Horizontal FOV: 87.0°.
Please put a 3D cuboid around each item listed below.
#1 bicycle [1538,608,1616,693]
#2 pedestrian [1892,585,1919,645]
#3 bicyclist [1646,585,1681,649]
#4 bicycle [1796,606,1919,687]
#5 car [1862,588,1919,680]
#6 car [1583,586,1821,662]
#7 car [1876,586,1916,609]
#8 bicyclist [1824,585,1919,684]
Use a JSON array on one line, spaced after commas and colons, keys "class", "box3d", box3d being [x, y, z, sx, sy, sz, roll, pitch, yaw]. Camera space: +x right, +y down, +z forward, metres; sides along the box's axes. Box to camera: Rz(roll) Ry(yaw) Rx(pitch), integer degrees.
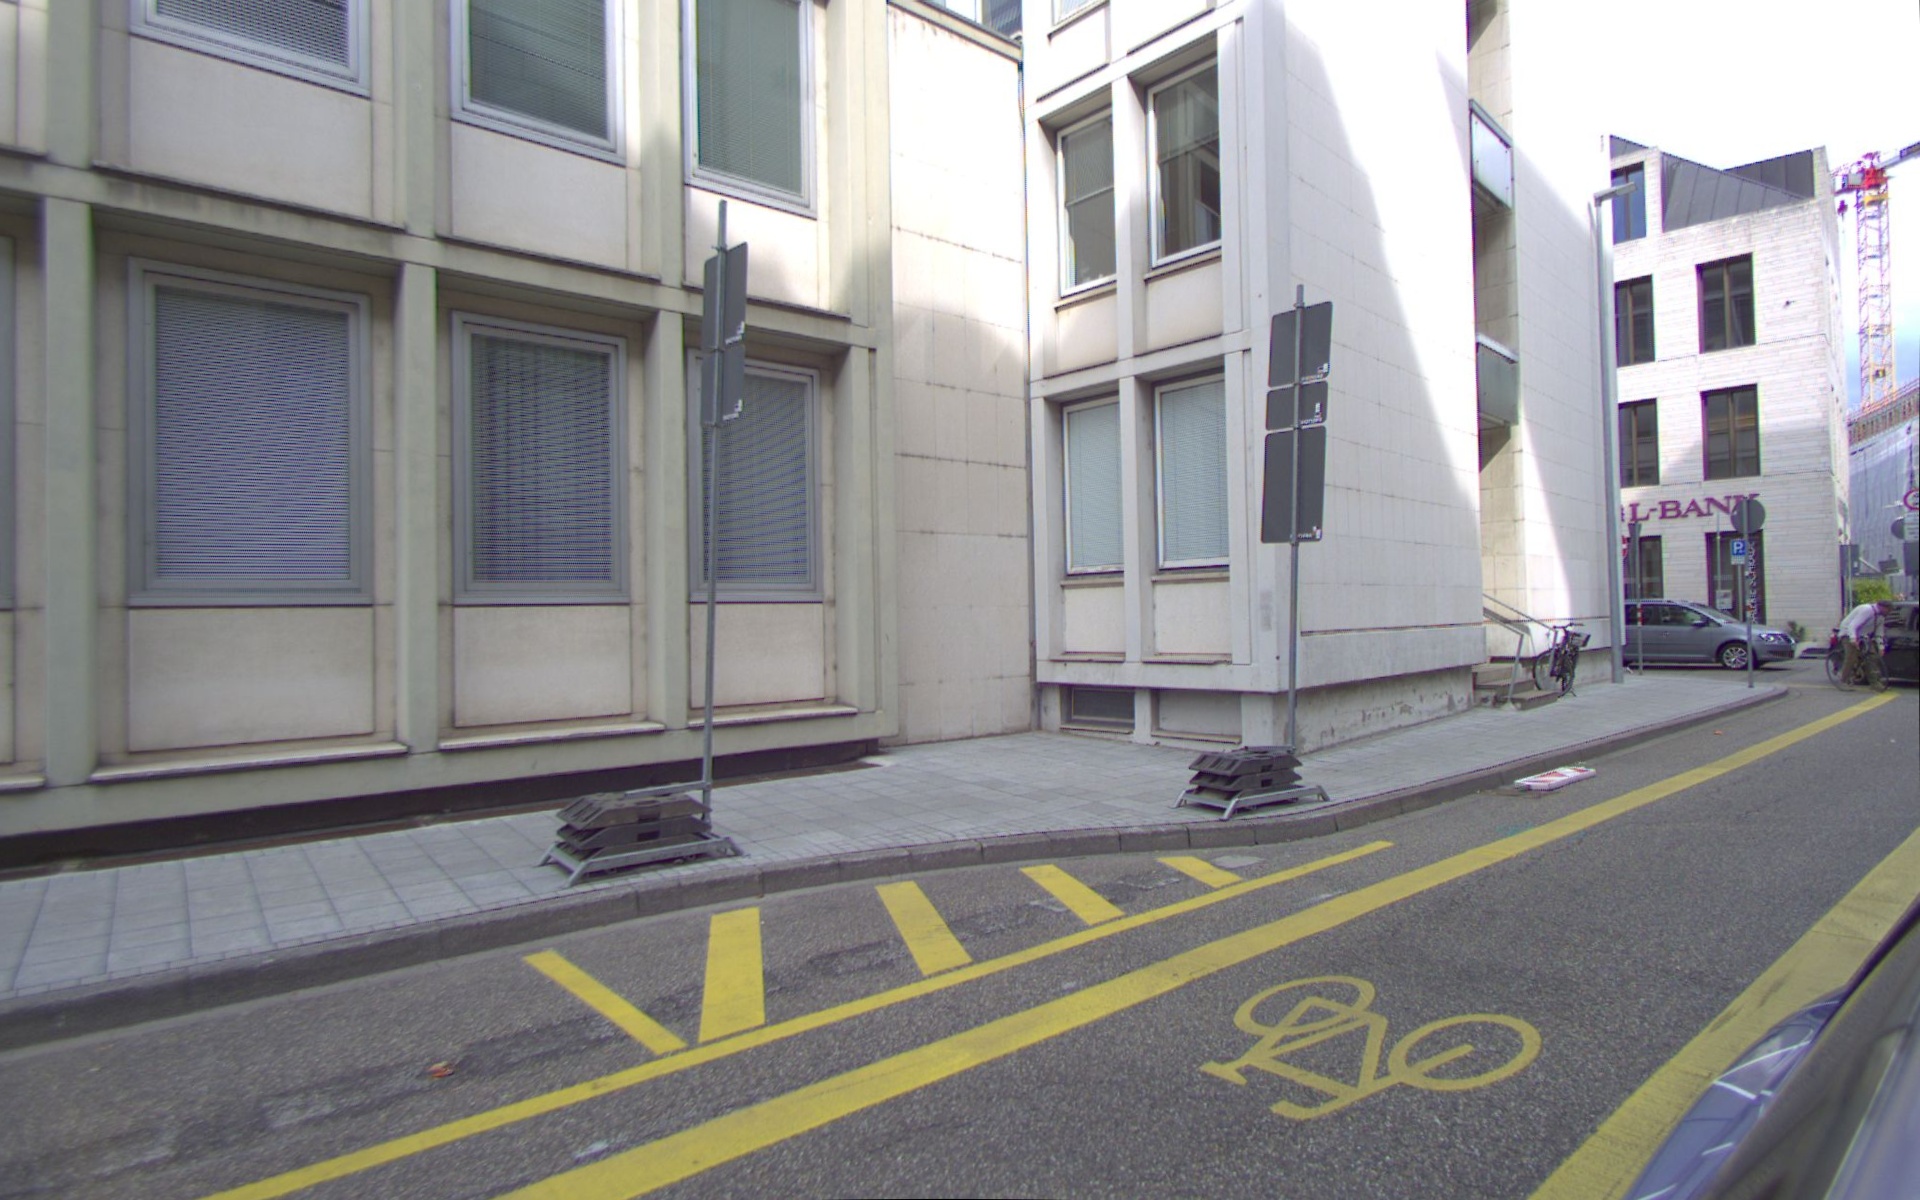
[{"class": "bicycle", "box3d": [9.372, 0.732, 15.345, 1.785, 1.182, 0.589, -1, 0, -45]}, {"class": "pedestrian", "box3d": [29.948, 0.460, 31.861, 0.859, 1.854, 0.762, -2, -1, 44]}, {"class": "bicyclist", "box3d": [18.221, 0.427, 26.194, 0.652, 1.616, 0.585, -1, -1, -43]}, {"class": "bicycle", "box3d": [15.370, 0.739, 17.170, 0.860, 1.210, 2.846, -1, 0, 19]}, {"class": "car", "box3d": [16.590, 0.547, 16.031, 1.690, 1.510, 3.752, -2, -1, 11]}, {"class": "car", "box3d": [17.277, 0.571, 23.734, 1.784, 1.611, 4.187, -1, -1, -41]}, {"class": "car", "box3d": [64.820, -0.181, 70.151, 1.580, 1.505, 3.947, -1, 0, 37]}, {"class": "bicyclist", "box3d": [15.329, 0.564, 17.048, 0.881, 1.614, 0.872, -1, 0, 20]}]
